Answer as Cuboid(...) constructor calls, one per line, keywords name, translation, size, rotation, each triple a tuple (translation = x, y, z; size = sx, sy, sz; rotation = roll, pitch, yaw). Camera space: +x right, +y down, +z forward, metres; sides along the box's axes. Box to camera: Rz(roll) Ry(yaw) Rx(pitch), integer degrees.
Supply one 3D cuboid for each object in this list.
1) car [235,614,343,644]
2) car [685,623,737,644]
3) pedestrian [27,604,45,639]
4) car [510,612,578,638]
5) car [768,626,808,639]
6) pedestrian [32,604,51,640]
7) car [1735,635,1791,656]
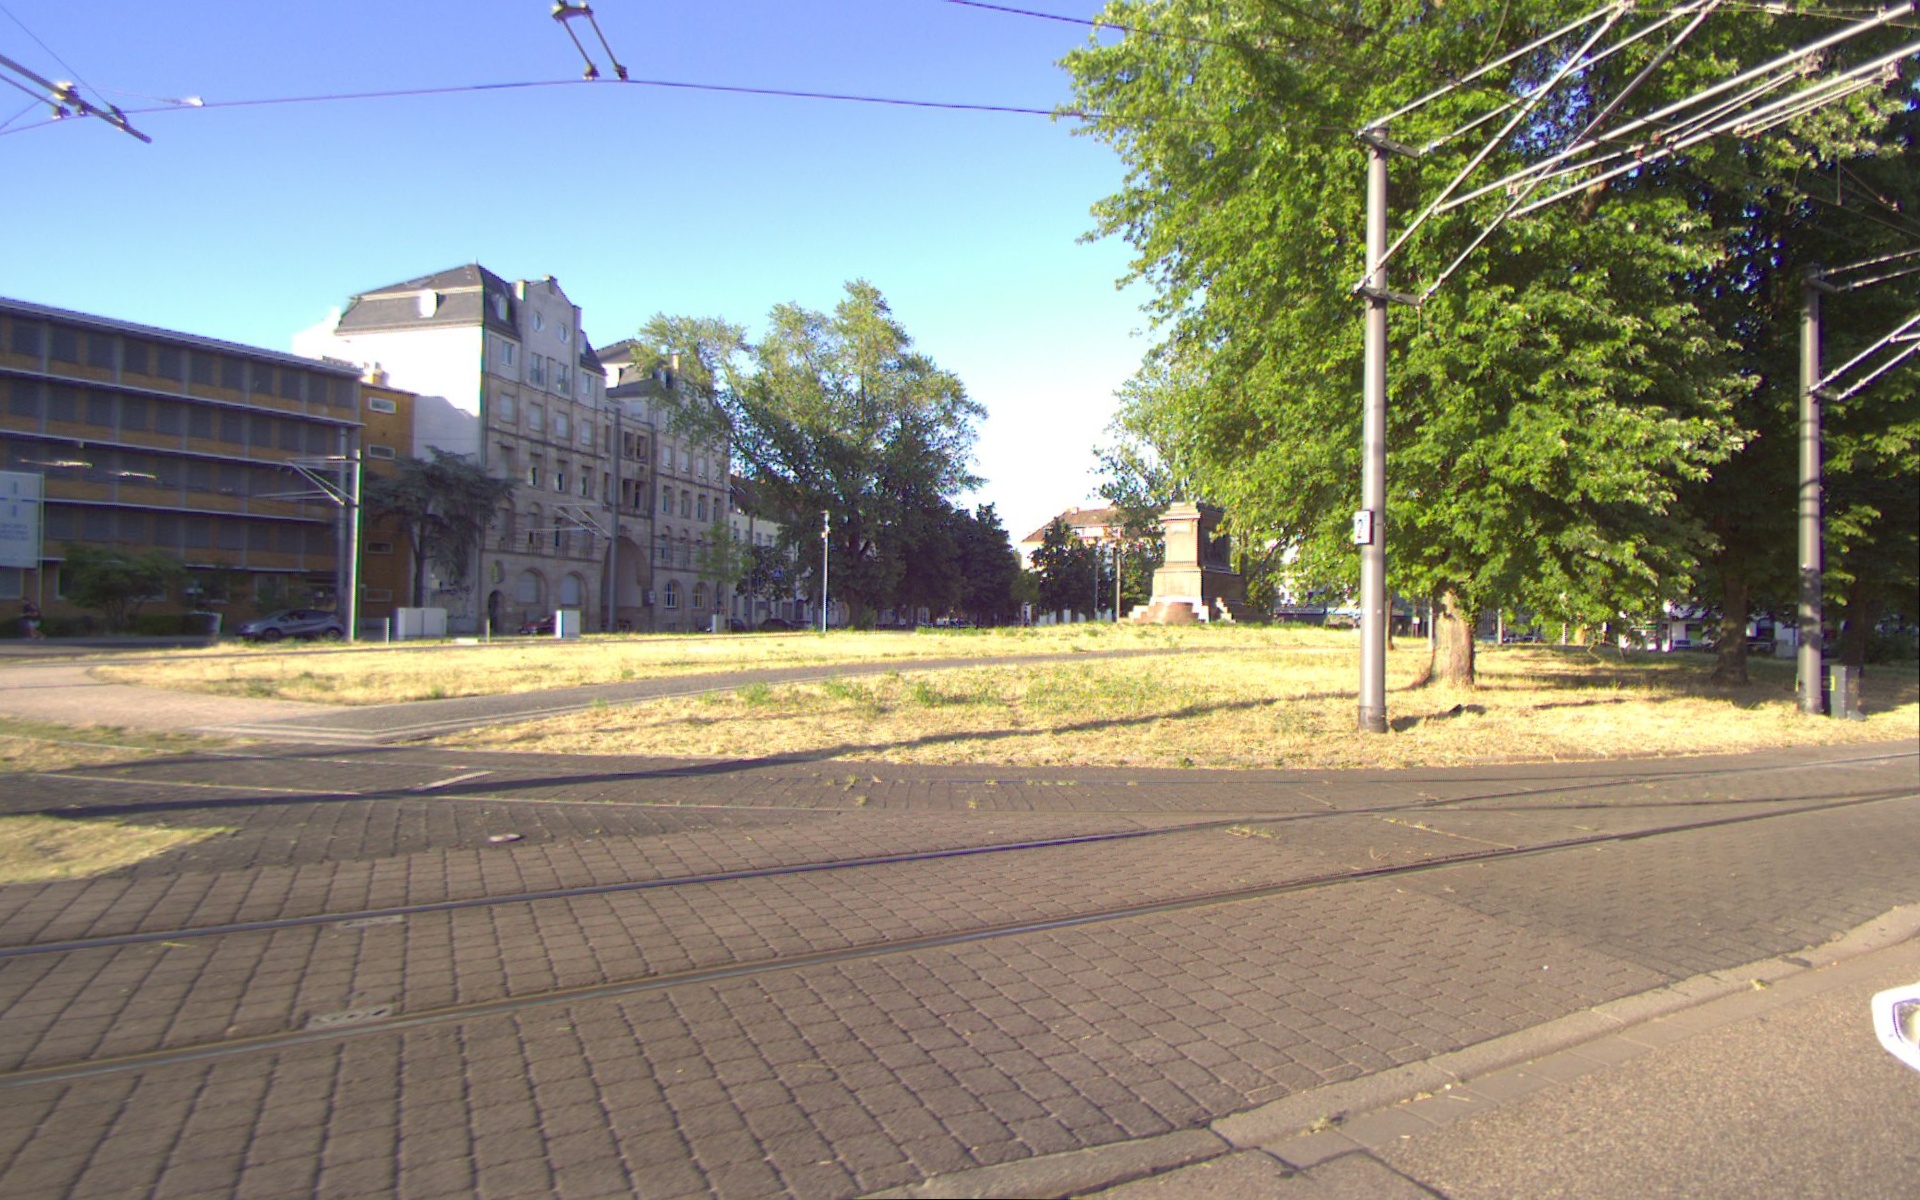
Cuboid(name="car", translation=(-29.841, 1.275, 44.754), size=(1.545, 1.275, 3.716), rotation=(1, -1, 35))
Cuboid(name="car", translation=(-17.488, 2.331, 70.673), size=(1.527, 1.372, 3.513), rotation=(2, 0, 31))
Cuboid(name="pedestrian", translation=(-38.241, 0.875, 41.571), size=(0.408, 1.449, 0.483), rotation=(0, -1, 37))
Cuboid(name="car", translation=(-23.930, 1.421, 57.857), size=(1.525, 1.372, 3.518), rotation=(2, 0, 25))
Cuboid(name="car", translation=(-17.549, 3.315, 102.477), size=(3.729, 1.238, 1.712), rotation=(0, -1, 12))
Cuboid(name="pedestrian", translation=(-37.654, 0.894, 41.167), size=(0.408, 1.449, 0.483), rotation=(0, -1, 37))
Cuboid(name="car", translation=(66.262, 3.762, 82.945), size=(3.569, 1.572, 1.655), rotation=(1, -1, 39))
